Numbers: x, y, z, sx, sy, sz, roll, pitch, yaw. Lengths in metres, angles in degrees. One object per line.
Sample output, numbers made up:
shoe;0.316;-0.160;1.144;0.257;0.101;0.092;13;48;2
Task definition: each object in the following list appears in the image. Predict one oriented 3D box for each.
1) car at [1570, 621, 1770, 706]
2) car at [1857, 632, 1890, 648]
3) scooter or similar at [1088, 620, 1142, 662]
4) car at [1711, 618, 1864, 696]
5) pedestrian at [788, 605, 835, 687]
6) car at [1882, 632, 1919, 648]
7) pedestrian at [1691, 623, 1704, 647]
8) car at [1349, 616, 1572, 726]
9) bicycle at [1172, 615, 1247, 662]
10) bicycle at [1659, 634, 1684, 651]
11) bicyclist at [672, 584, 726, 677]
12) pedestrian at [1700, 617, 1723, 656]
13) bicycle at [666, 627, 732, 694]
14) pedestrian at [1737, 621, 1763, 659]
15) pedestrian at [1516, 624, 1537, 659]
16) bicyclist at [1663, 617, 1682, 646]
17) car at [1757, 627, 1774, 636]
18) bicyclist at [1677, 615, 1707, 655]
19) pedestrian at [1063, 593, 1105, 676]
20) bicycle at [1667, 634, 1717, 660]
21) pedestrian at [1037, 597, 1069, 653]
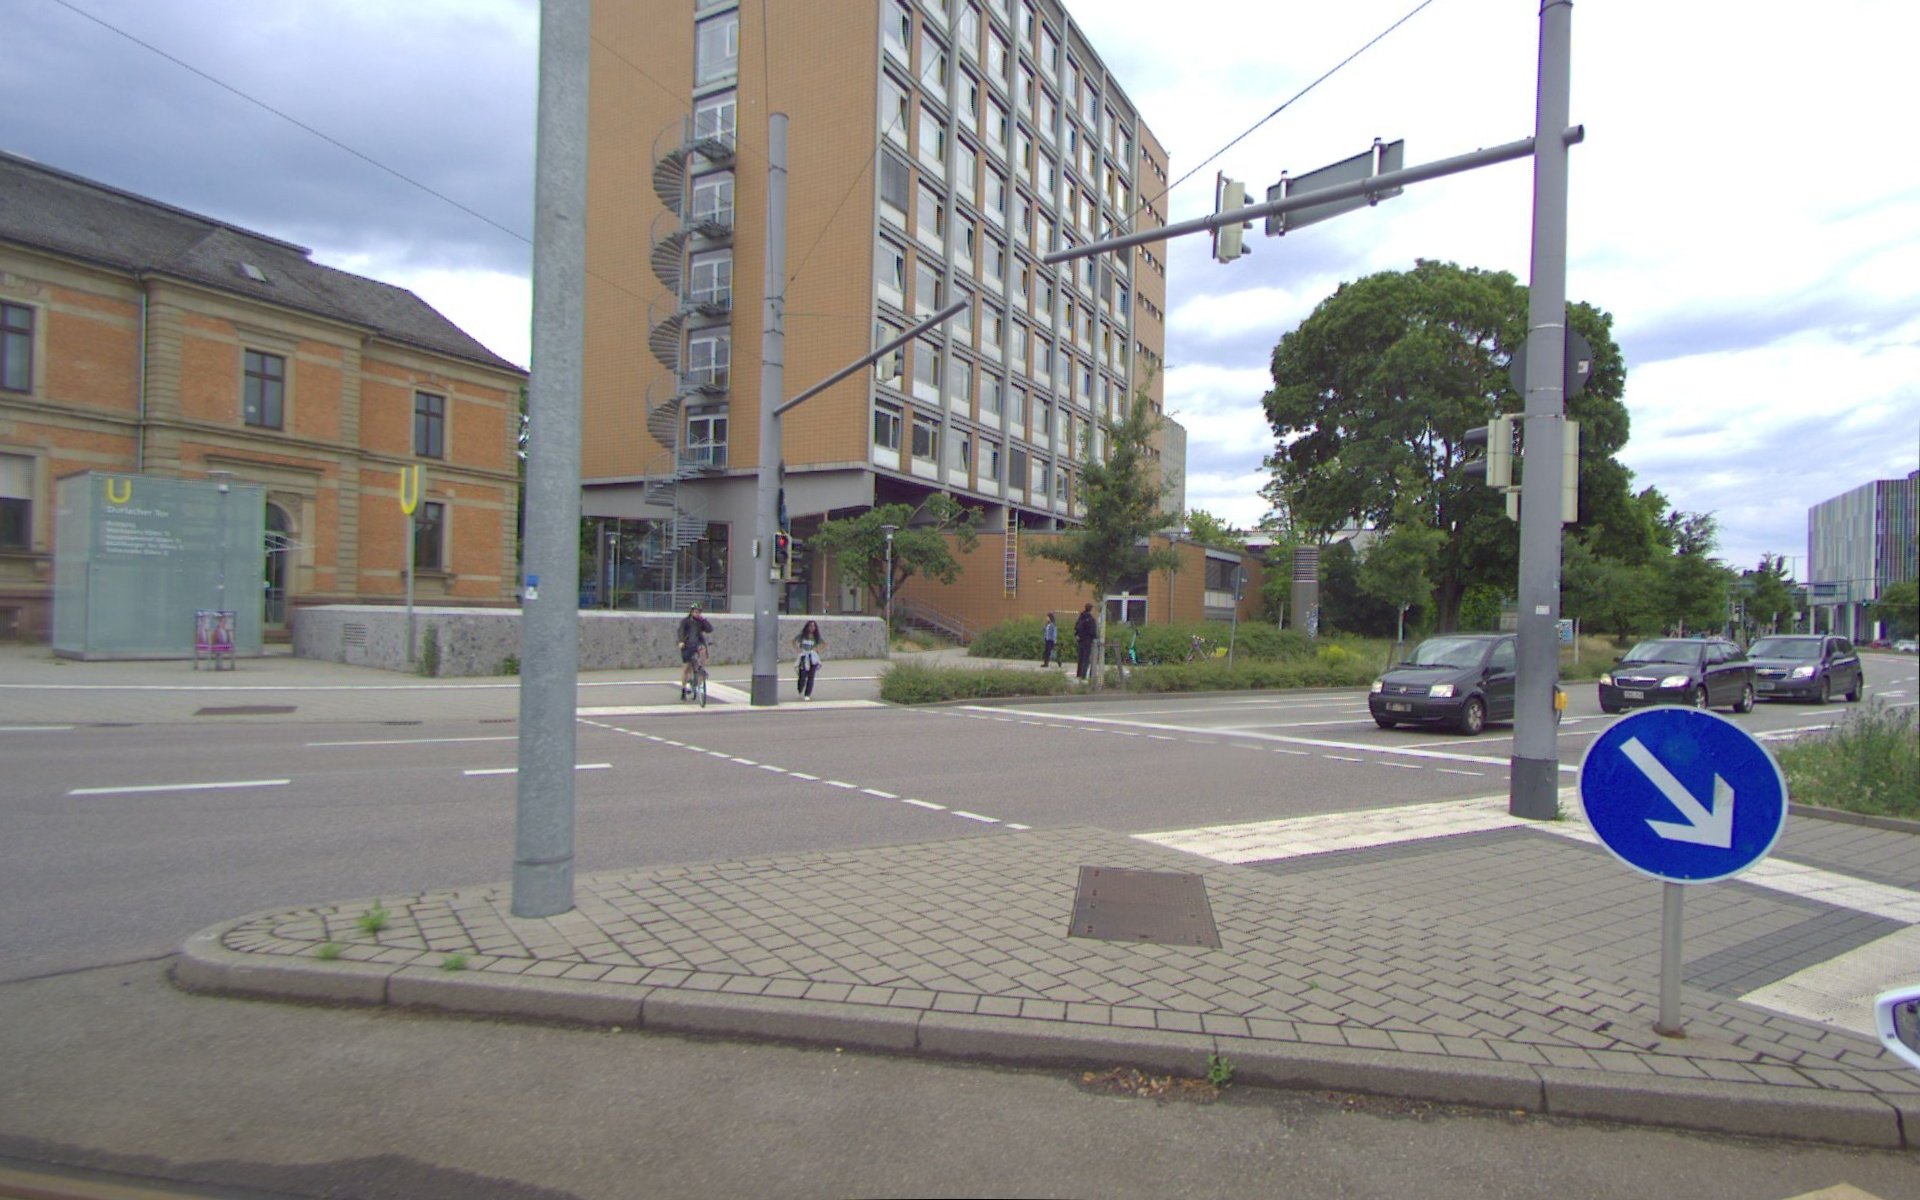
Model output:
car;14.252;1.242;20.090;4.433;1.528;1.859;2;-3;-35
car;106.926;4.651;117.615;1.965;1.704;4.003;1;-1;30
scooter or similar;5.224;1.364;33.861;1.751;1.319;0.626;1;-1;44
car;20.302;1.356;24.590;4.668;1.748;1.857;2;-2;-37
pedestrian;-2.932;0.894;19.805;0.740;1.572;0.575;1;-1;-31
car;100.560;4.279;107.343;1.964;1.661;3.994;1;-1;28
pedestrian;63.164;2.998;86.048;0.747;2.040;1.041;1;-1;43
car;7.922;1.069;15.820;3.628;1.535;1.608;2;-2;-35
bicycle;8.217;1.270;33.104;2.214;1.468;0.848;2;0;-11
bicycle;39.920;2.363;56.344;1.868;0.894;0.709;2;0;-40
bicyclist;-4.877;0.560;18.745;0.783;1.679;0.810;2;2;-26
pedestrian;37.094;1.796;49.593;0.760;1.866;0.751;2;-2;-38
bicycle;-4.914;1.107;18.780;0.784;1.042;2.106;2;2;-25
pedestrian;40.064;2.035;50.934;0.661;1.867;0.886;2;-1;-38
pedestrian;25.513;1.863;45.239;0.749;1.562;0.557;2;0;-39
bicyclist;39.999;1.743;56.393;0.706;1.591;0.709;2;0;-40
car;128.854;5.047;160.753;1.687;1.282;3.333;1;-1;31
bicyclist;34.967;1.668;48.008;0.818;1.869;0.791;2;0;-8
pedestrian;3.052;0.839;24.790;0.650;2.007;0.815;1;-1;-30
bicycle;34.975;2.224;48.002;1.871;1.174;0.790;2;-1;-8
pedestrian;2.944;0.791;31.790;0.678;1.757;0.743;1;-1;-30
